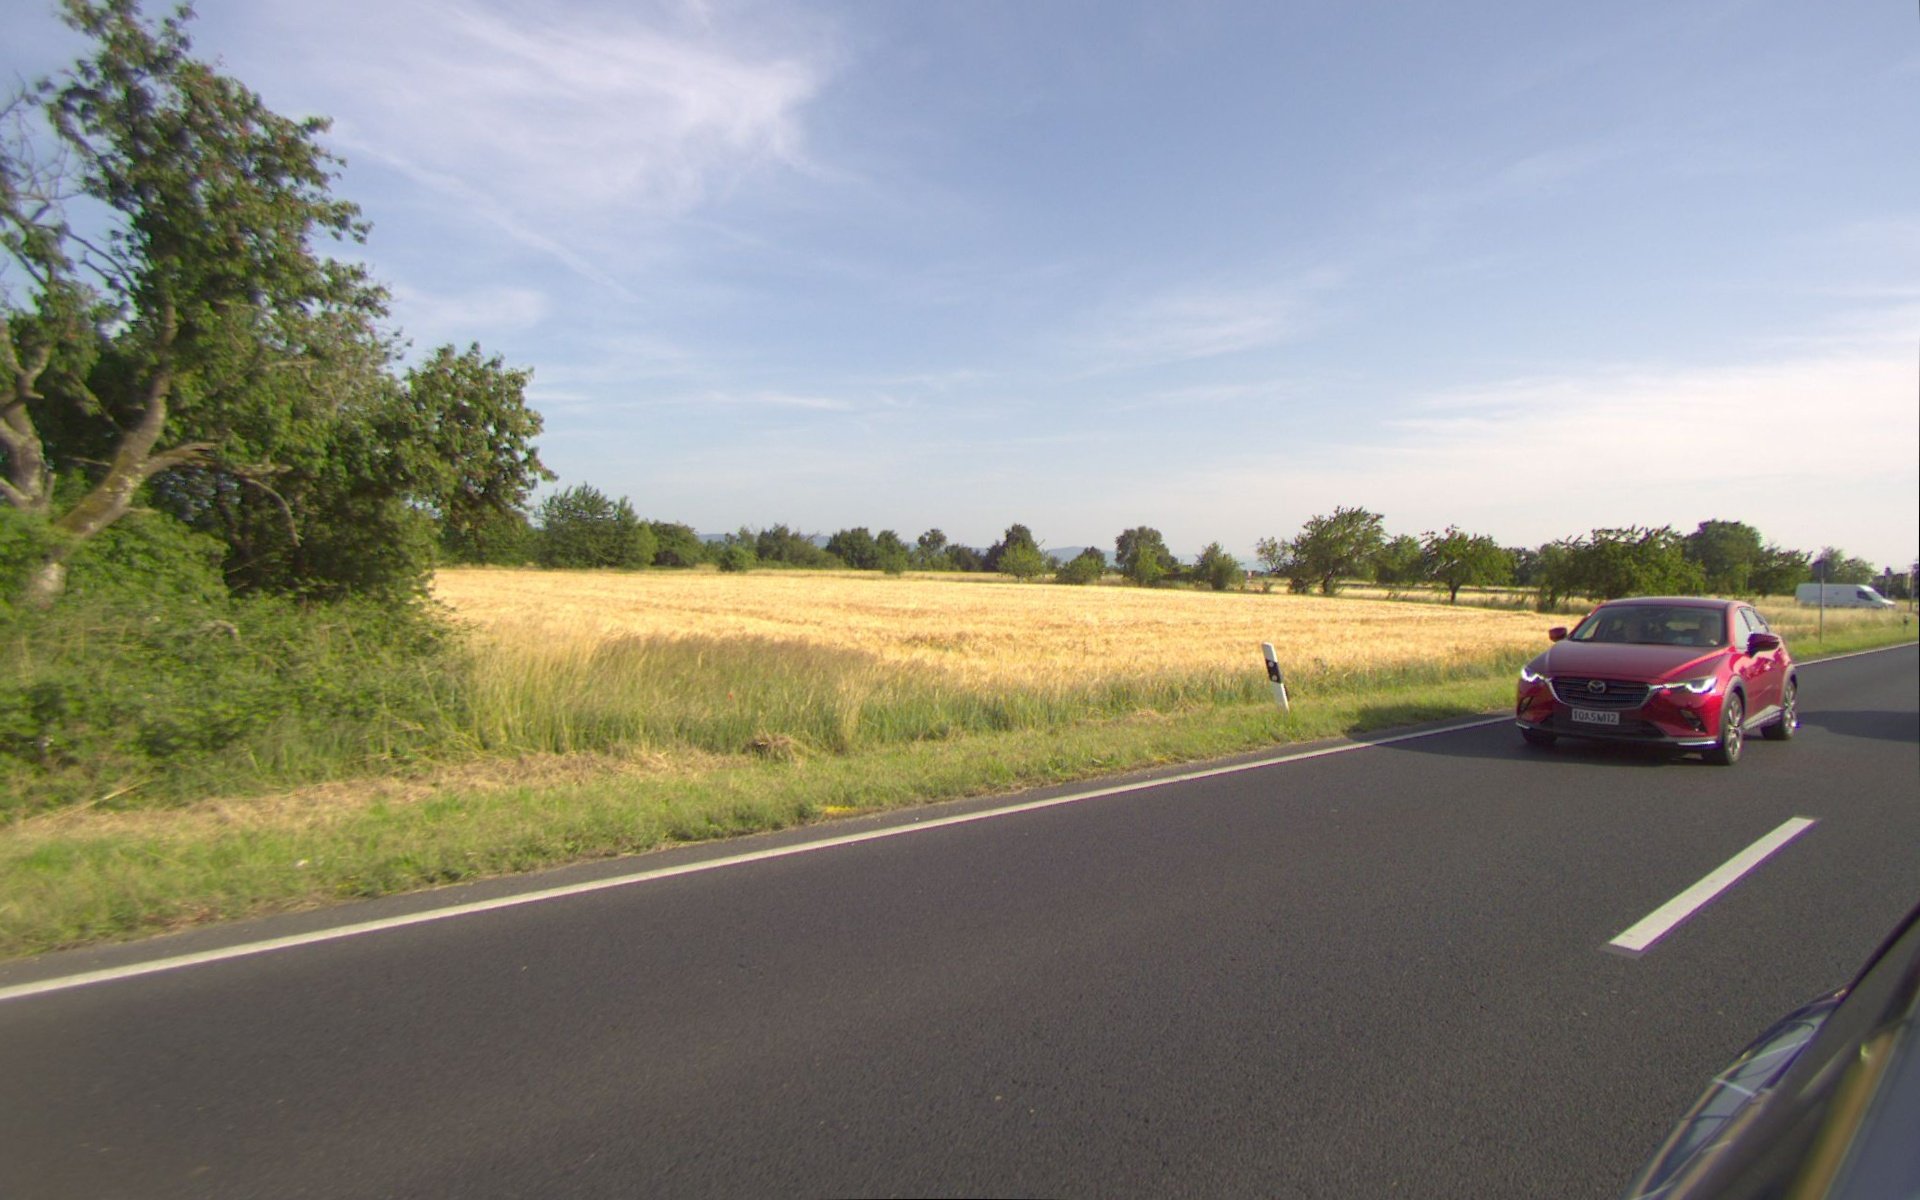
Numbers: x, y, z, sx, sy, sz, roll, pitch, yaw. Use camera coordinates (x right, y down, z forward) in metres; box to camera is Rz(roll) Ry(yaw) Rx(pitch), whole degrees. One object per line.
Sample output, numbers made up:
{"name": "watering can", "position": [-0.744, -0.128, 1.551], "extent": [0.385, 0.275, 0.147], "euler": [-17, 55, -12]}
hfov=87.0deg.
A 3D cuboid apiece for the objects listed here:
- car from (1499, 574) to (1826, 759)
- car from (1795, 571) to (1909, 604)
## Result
{"name": "car", "position": [7.377, 0.511, 10.445], "extent": [4.422, 1.524, 1.707], "euler": [-1, 1, -40]}
{"name": "car", "position": [77.607, -1.148, 88.229], "extent": [2.049, 2.701, 7.230], "euler": [-1, 2, -25]}
